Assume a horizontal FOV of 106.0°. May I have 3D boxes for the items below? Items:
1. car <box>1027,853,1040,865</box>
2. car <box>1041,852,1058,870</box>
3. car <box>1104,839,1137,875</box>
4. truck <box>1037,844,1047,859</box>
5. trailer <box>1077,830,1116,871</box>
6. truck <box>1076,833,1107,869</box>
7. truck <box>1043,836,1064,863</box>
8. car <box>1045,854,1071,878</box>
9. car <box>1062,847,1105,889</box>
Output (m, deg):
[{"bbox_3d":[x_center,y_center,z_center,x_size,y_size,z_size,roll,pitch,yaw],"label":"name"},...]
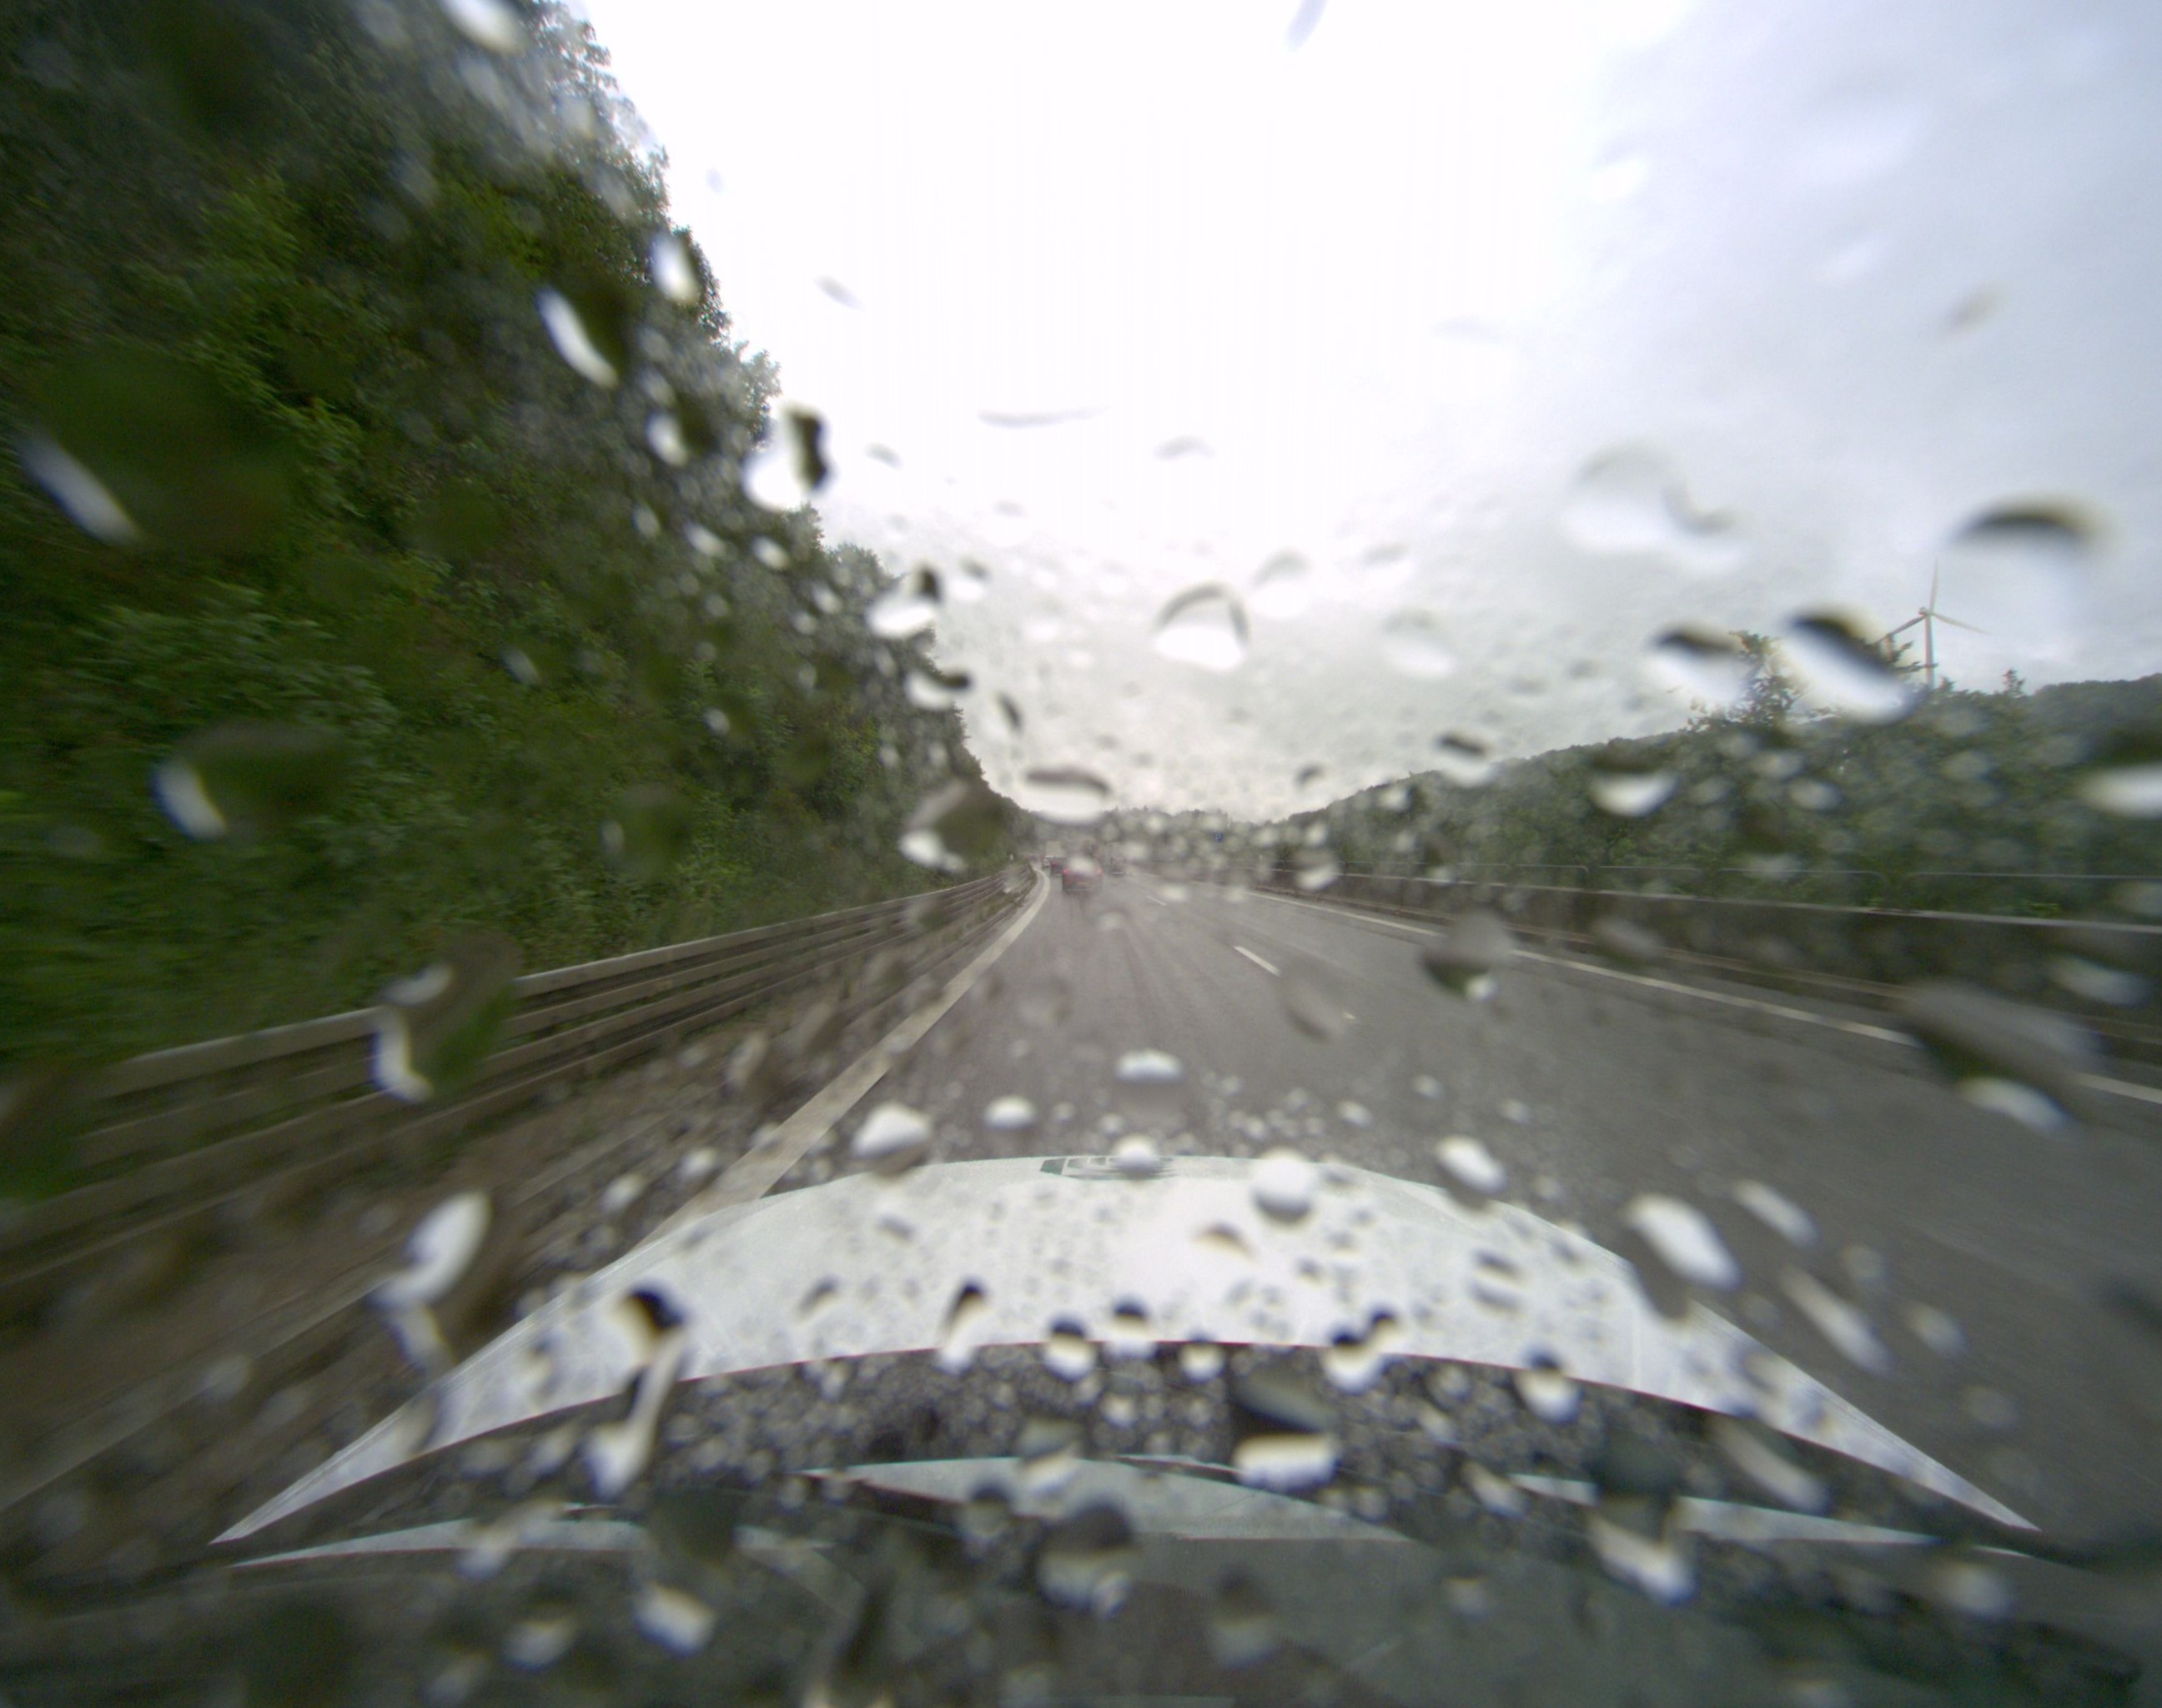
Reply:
[{"bbox_3d":[-7.815,0.850,133.577,1.988,2.014,3.998,0,-1,-1],"label":"car"},{"bbox_3d":[-3.371,0.740,85.988,1.712,1.817,3.887,0,-1,-3],"label":"car"},{"bbox_3d":[3.192,0.250,66.994,2.199,2.794,7.379,-2,0,-1],"label":"car"},{"bbox_3d":[-8.645,-0.515,181.202,2.101,3.420,6.213,0,-1,-4],"label":"truck"},{"bbox_3d":[1.509,-0.345,88.027,3.211,3.999,13.507,-2,0,-3],"label":"trailer"},{"bbox_3d":[1.160,-0.377,94.737,3.212,3.978,5.432,-2,0,-3],"label":"truck"},{"bbox_3d":[-4.905,-0.775,144.981,3.218,4.682,8.283,0,-1,-5],"label":"truck"},{"bbox_3d":[-1.727,0.914,61.766,1.817,1.696,3.999,-2,0,0],"label":"car"},{"bbox_3d":[0.119,0.589,35.274,1.752,1.684,4.000,-1,-1,0],"label":"car"}]
